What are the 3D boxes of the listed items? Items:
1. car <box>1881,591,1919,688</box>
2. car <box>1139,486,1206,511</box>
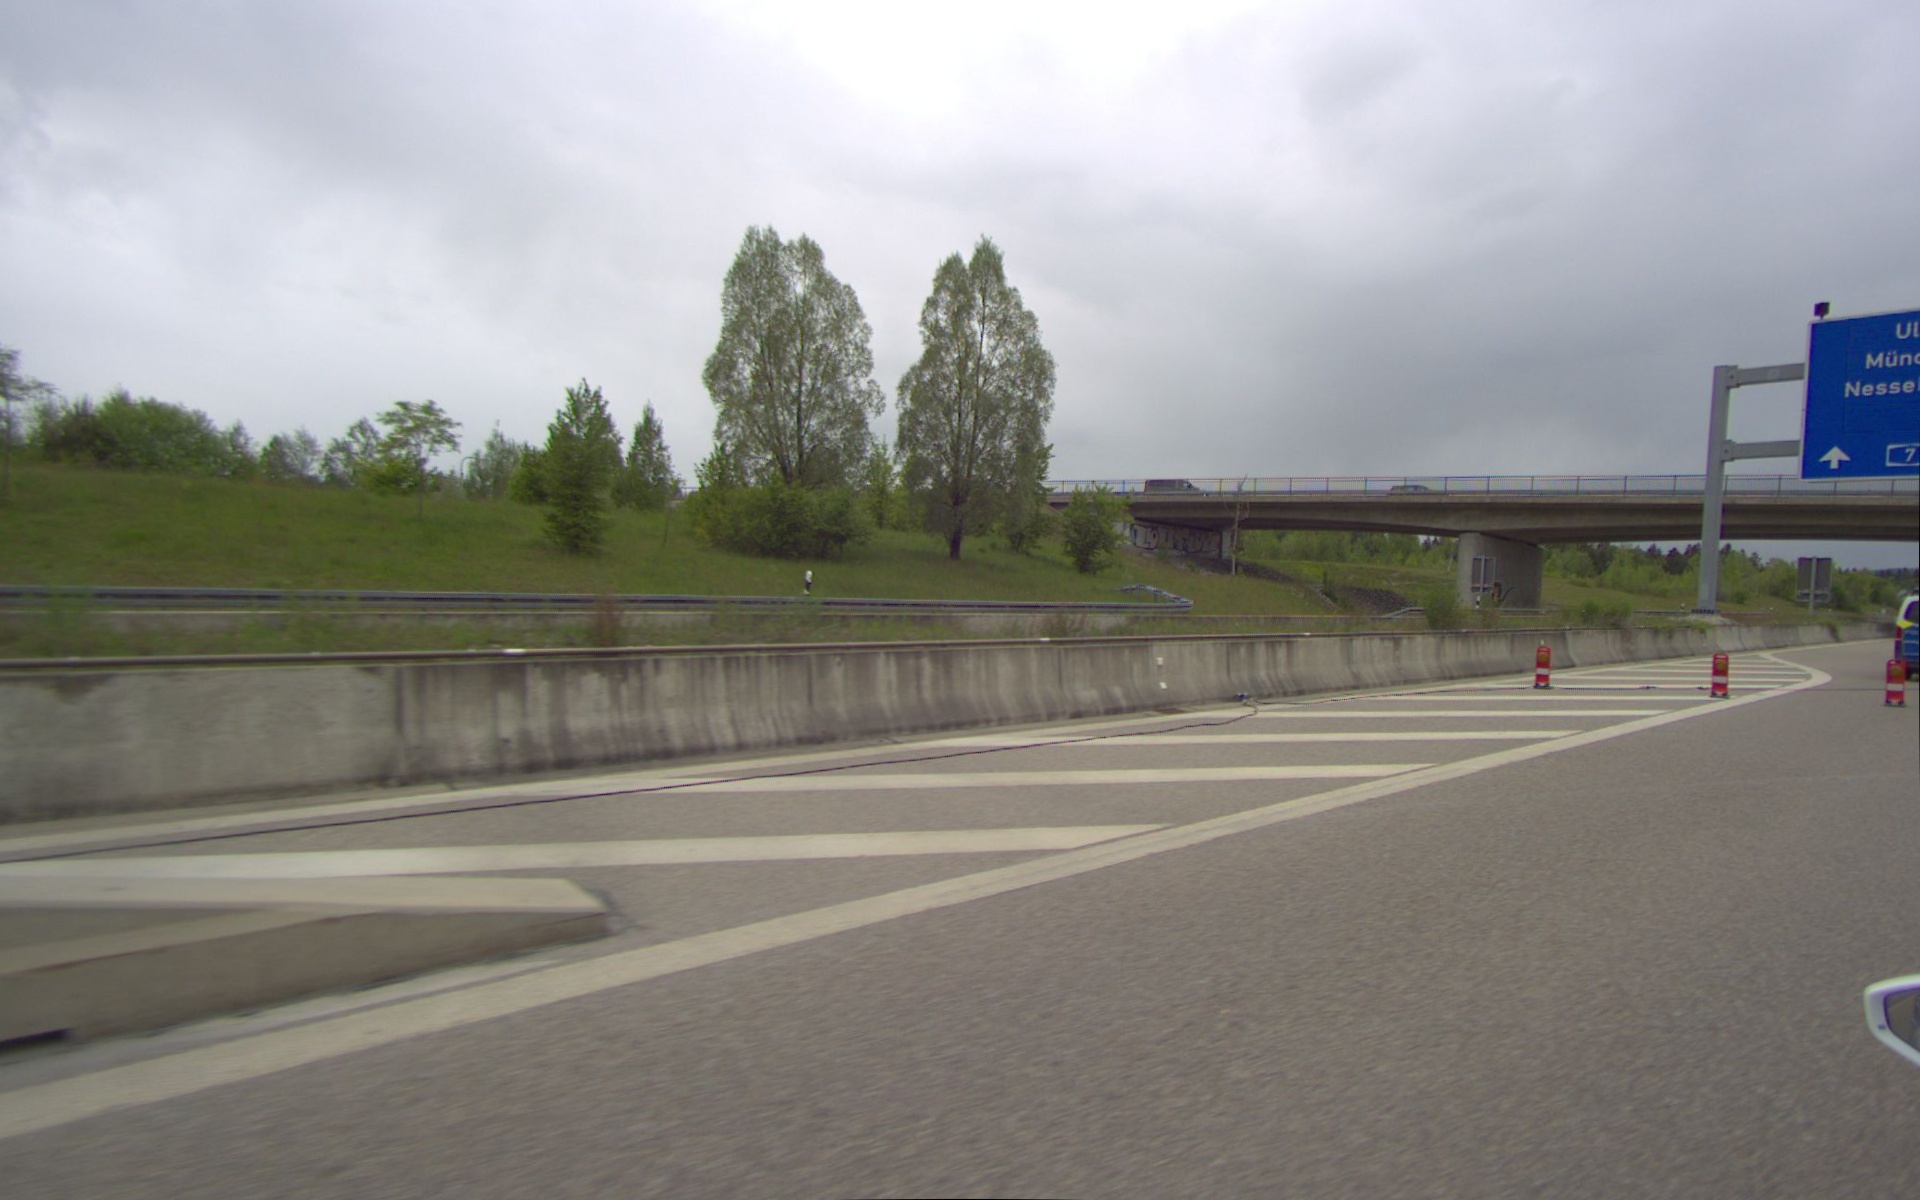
[{"bbox_3d":[22.574,0.871,22.609,5.012,2.041,2.265,0,1,-42],"label":"car"},{"bbox_3d":[16.987,-8.109,80.397,4.847,1.670,1.998,1,0,26],"label":"car"}]
